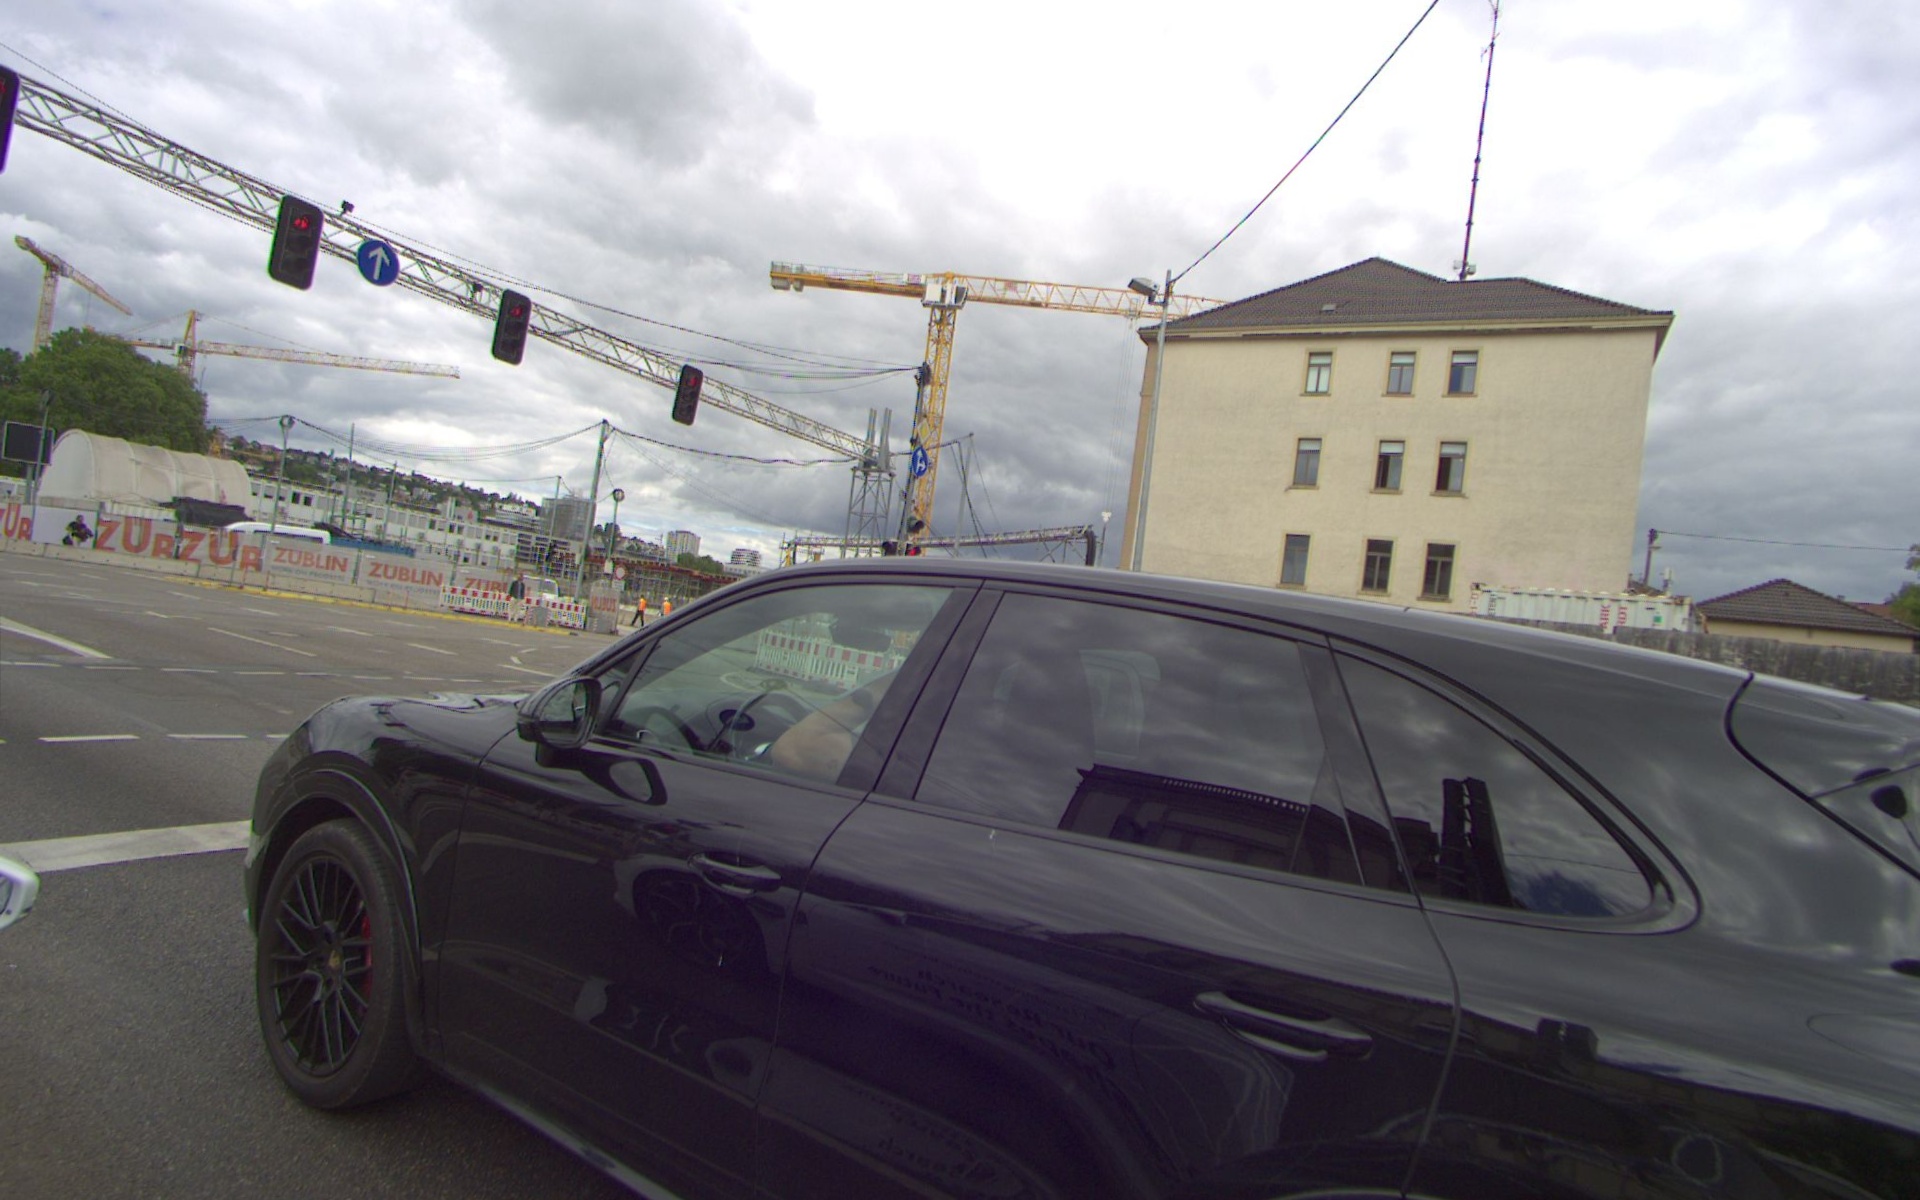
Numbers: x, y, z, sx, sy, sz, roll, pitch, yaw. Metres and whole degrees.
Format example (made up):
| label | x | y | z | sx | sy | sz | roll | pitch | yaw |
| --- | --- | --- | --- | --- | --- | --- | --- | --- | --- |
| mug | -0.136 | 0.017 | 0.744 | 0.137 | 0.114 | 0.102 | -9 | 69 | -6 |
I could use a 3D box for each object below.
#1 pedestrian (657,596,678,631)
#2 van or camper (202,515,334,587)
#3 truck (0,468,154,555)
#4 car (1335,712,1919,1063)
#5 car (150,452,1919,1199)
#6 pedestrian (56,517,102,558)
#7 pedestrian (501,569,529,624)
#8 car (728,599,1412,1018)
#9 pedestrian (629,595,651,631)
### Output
| label | x | y | z | sx | sy | sz | roll | pitch | yaw |
| --- | --- | --- | --- | --- | --- | --- | --- | --- | --- |
| pedestrian | -15.168 | 0.691 | 52.178 | 0.508 | 1.737 | 0.654 | 7 | -1 | 21 |
| van or camper | -29.811 | -2.075 | 43.412 | 4.204 | 2.384 | 1.976 | 10 | -3 | -44 |
| truck | -57.898 | -5.802 | 61.932 | 3.875 | 4.086 | 13.088 | 8 | -2 | 12 |
| car | 4.947 | 1.852 | 7.061 | 3.936 | 1.496 | 1.662 | 6 | -2 | 34 |
| car | 0.033 | 0.723 | 2.695 | 4.559 | 1.705 | 1.959 | 7 | -2 | 33 |
| pedestrian | -33.547 | -2.376 | 38.335 | 0.887 | 1.393 | 0.800 | 8 | -1 | 12 |
| pedestrian | -17.262 | -0.121 | 39.021 | 0.647 | 2.037 | 0.513 | 8 | -1 | -33 |
| car | 0.589 | 1.050 | 6.371 | 3.818 | 1.561 | 1.667 | 7 | -2 | 33 |
| pedestrian | -17.117 | 0.698 | 53.842 | 0.607 | 1.816 | 0.654 | 7 | -1 | 23 |
